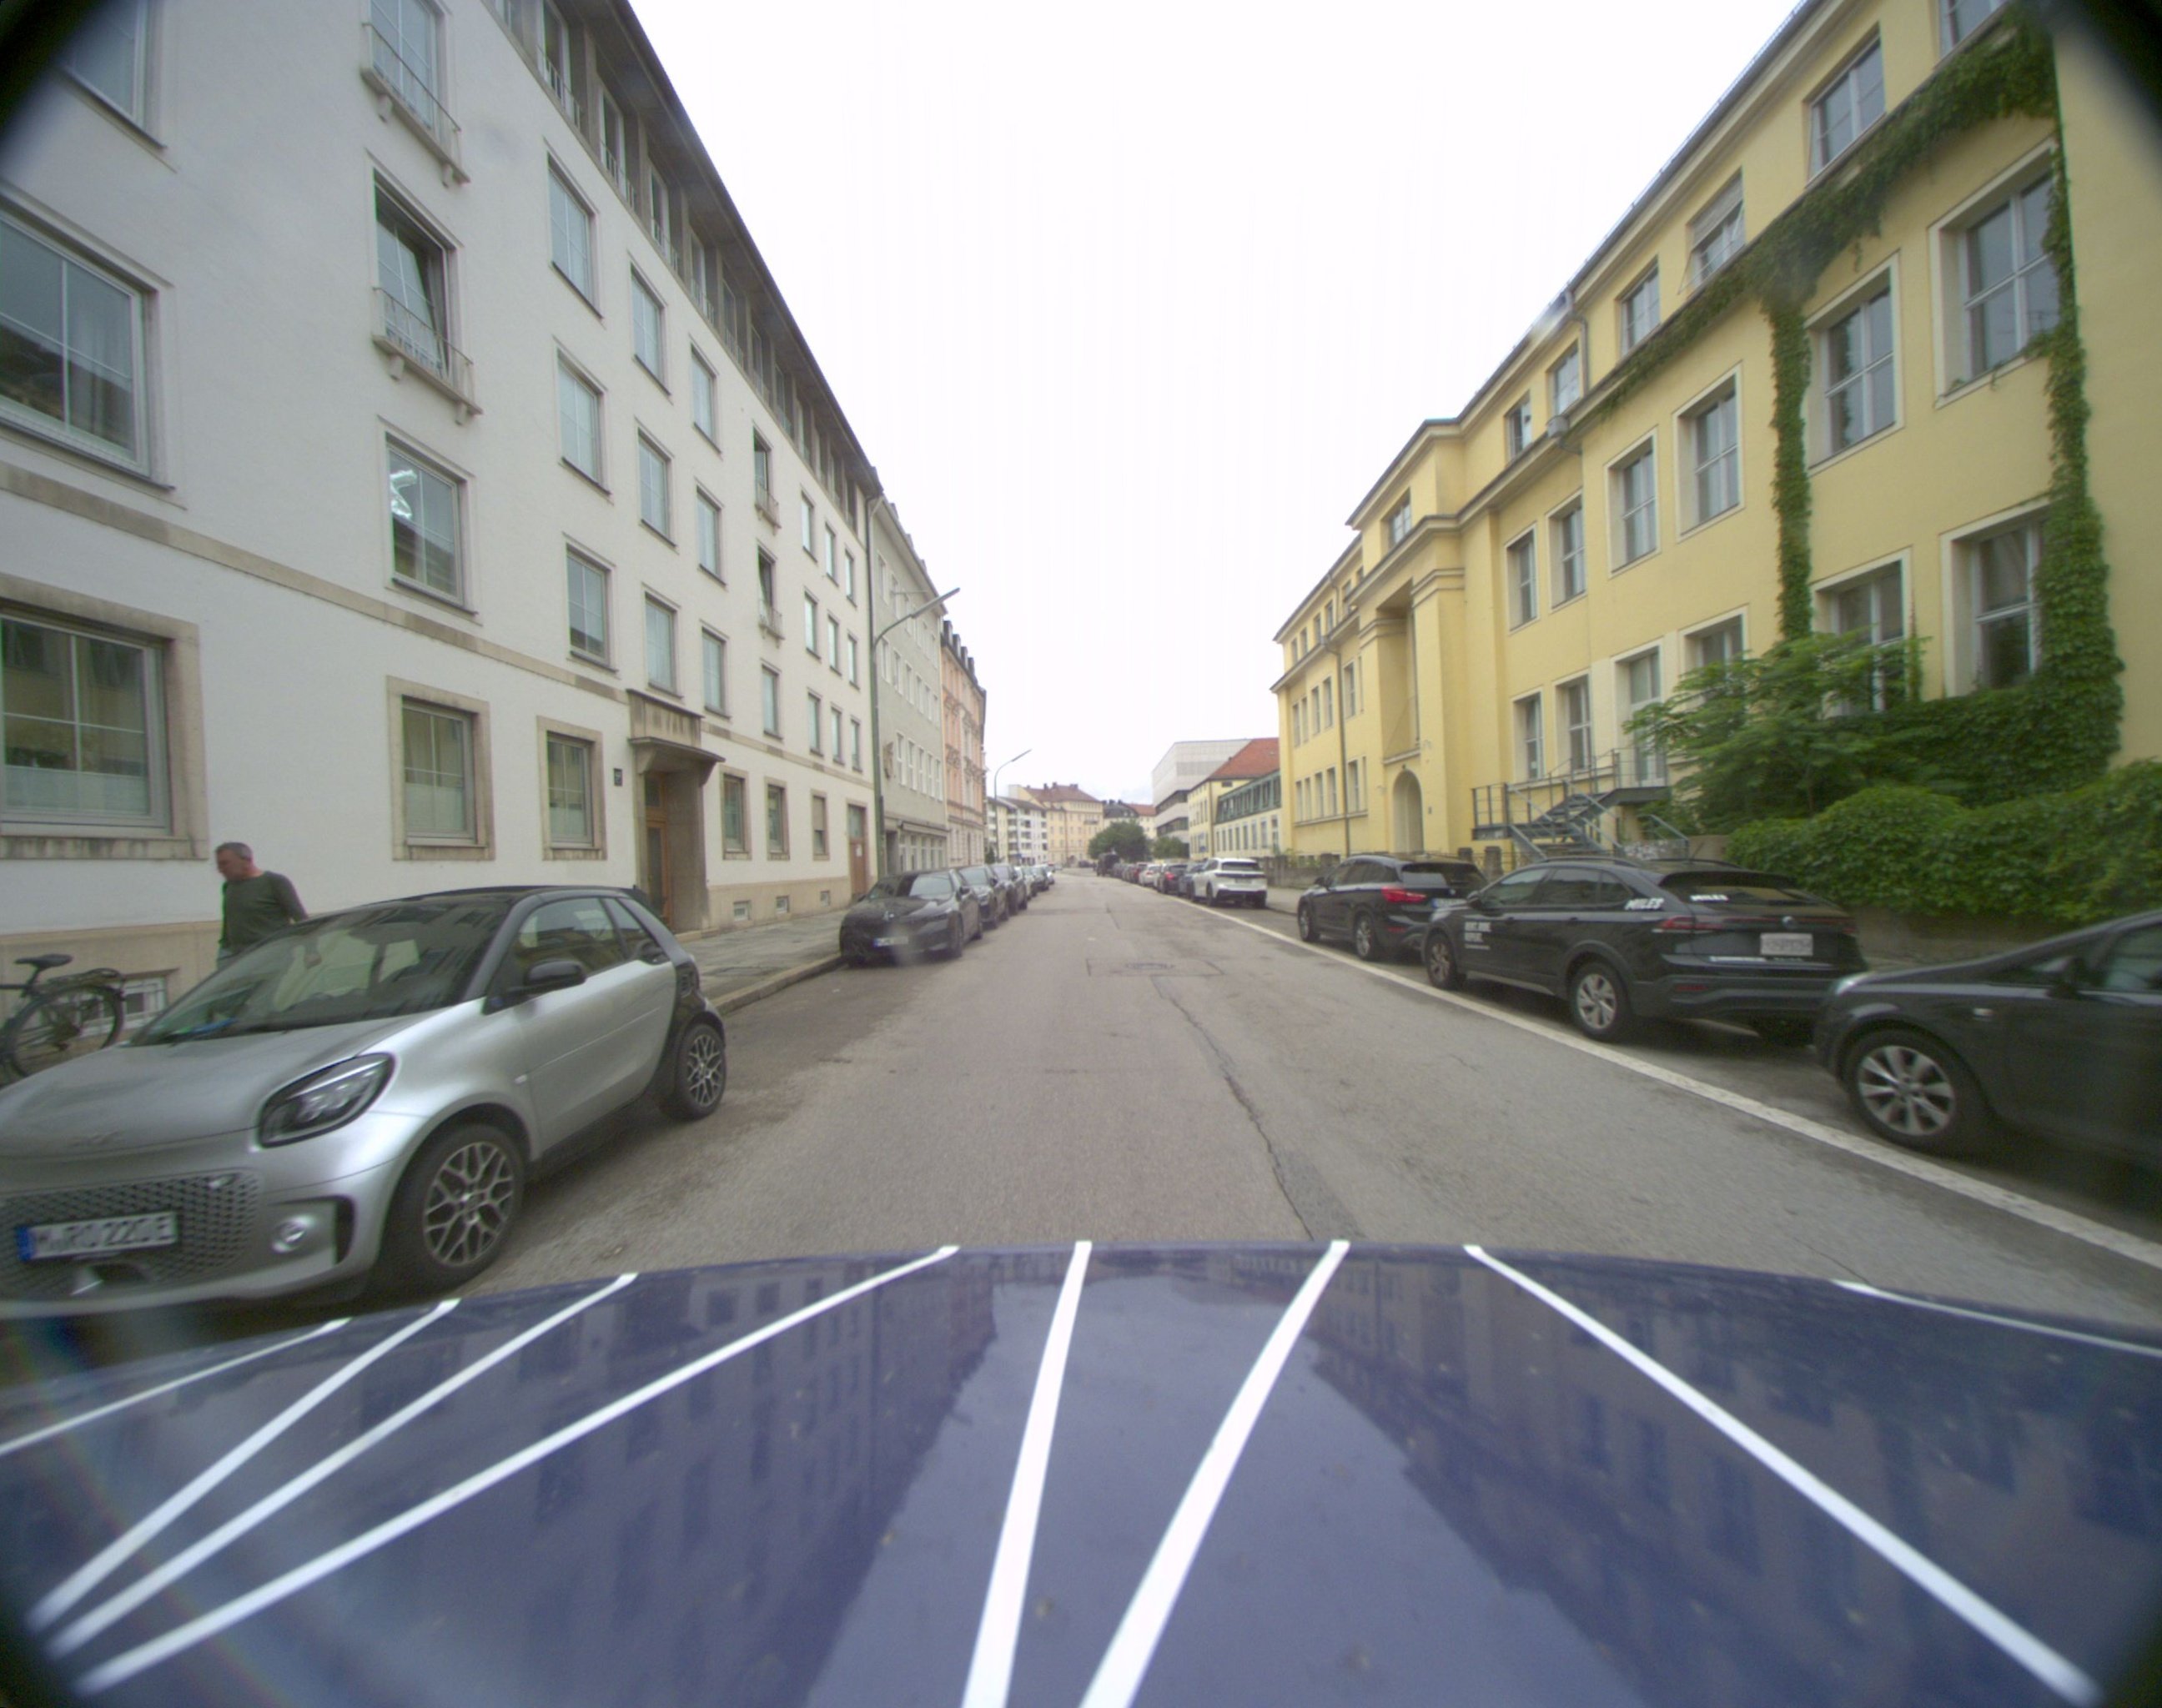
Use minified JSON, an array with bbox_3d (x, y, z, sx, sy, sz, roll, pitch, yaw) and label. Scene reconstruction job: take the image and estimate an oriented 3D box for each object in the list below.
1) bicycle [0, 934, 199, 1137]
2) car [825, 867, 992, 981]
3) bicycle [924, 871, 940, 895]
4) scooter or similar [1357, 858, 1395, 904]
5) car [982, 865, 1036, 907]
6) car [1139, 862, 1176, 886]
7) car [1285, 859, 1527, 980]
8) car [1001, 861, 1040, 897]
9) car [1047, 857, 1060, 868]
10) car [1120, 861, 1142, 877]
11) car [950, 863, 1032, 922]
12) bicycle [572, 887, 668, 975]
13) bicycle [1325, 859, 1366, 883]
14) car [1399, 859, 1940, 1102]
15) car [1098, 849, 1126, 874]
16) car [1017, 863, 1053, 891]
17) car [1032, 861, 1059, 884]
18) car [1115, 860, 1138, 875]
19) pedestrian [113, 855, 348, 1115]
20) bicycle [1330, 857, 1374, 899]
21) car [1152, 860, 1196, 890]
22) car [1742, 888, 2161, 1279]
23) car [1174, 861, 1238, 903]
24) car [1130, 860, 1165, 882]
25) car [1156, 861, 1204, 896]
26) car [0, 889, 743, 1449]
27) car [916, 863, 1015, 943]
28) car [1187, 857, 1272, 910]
[{"bbox_3d":[-7.338,1.251,5.001,0.531,1.210,2.103,-3,0,1],"label":"bicycle"},{"bbox_3d":[-2.893,1.094,14.043,1.807,1.475,5.319,-5,0,-1],"label":"car"},{"bbox_3d":[-7.427,1.442,37.873,0.385,1.151,1.949,-2,0,-1],"label":"bicycle"},{"bbox_3d":[9.101,0.810,23.480,0.561,1.361,1.501,-2,0,0],"label":"scooter or similar"},{"bbox_3d":[-2.908,1.269,31.481,1.677,1.421,4.530,-4,0,0],"label":"car"},{"bbox_3d":[4.896,1.236,49.075,1.799,1.421,4.664,1,0,-2],"label":"car"},{"bbox_3d":[4.996,0.900,12.560,1.794,1.577,4.817,1,0,-2],"label":"car"},{"bbox_3d":[-2.927,1.213,37.677,1.711,1.583,4.361,-4,0,-3],"label":"car"},{"bbox_3d":[-5.202,1.652,141.941,1.921,1.836,5.320,-1,-3,-7],"label":"car"},{"bbox_3d":[4.894,1.452,75.260,1.918,1.473,4.532,1,-1,0],"label":"car"},{"bbox_3d":[-2.730,1.145,24.166,1.844,1.513,4.709,-4,0,1],"label":"car"},{"bbox_3d":[-7.391,1.185,12.289,0.514,1.215,1.987,-2,0,-7],"label":"bicycle"},{"bbox_3d":[11.697,0.748,33.630,1.662,1.044,0.426,-2,0,-7],"label":"bicycle"},{"bbox_3d":[4.948,0.877,7.408,1.729,1.620,4.465,0,0,-2],"label":"car"},{"bbox_3d":[3.651,0.889,91.044,2.220,2.837,6.192,0,0,-8],"label":"car"},{"bbox_3d":[-2.635,1.302,44.343,1.692,1.394,4.364,-3,0,1],"label":"car"},{"bbox_3d":[-2.857,1.414,60.144,1.686,1.663,3.802,-4,0,-8],"label":"car"},{"bbox_3d":[4.805,1.443,80.023,1.919,1.577,4.352,1,-1,-3],"label":"car"},{"bbox_3d":[-6.275,0.904,5.669,0.724,1.753,0.904,2,2,1],"label":"pedestrian"},{"bbox_3d":[9.050,0.788,25.496,0.682,1.321,2.113,-3,0,0],"label":"bicycle"},{"bbox_3d":[5.005,1.102,41.495,1.789,1.423,4.652,-3,0,0],"label":"car"},{"bbox_3d":[4.984,0.940,2.629,1.608,1.422,4.251,1,0,-1],"label":"car"},{"bbox_3d":[5.041,1.078,31.153,1.708,1.493,4.494,3,0,-1],"label":"car"},{"bbox_3d":[4.739,1.195,54.764,1.963,1.473,4.528,0,0,-3],"label":"car"},{"bbox_3d":[4.649,1.114,36.262,1.703,1.488,4.148,1,0,0],"label":"car"},{"bbox_3d":[-3.206,1.053,3.737,1.654,1.486,2.881,-5,0,0],"label":"car"},{"bbox_3d":[-2.788,1.126,19.298,1.649,1.580,4.634,-5,0,0],"label":"car"},{"bbox_3d":[4.979,0.945,26.186,1.750,1.624,4.855,-1,0,-3],"label":"car"}]
